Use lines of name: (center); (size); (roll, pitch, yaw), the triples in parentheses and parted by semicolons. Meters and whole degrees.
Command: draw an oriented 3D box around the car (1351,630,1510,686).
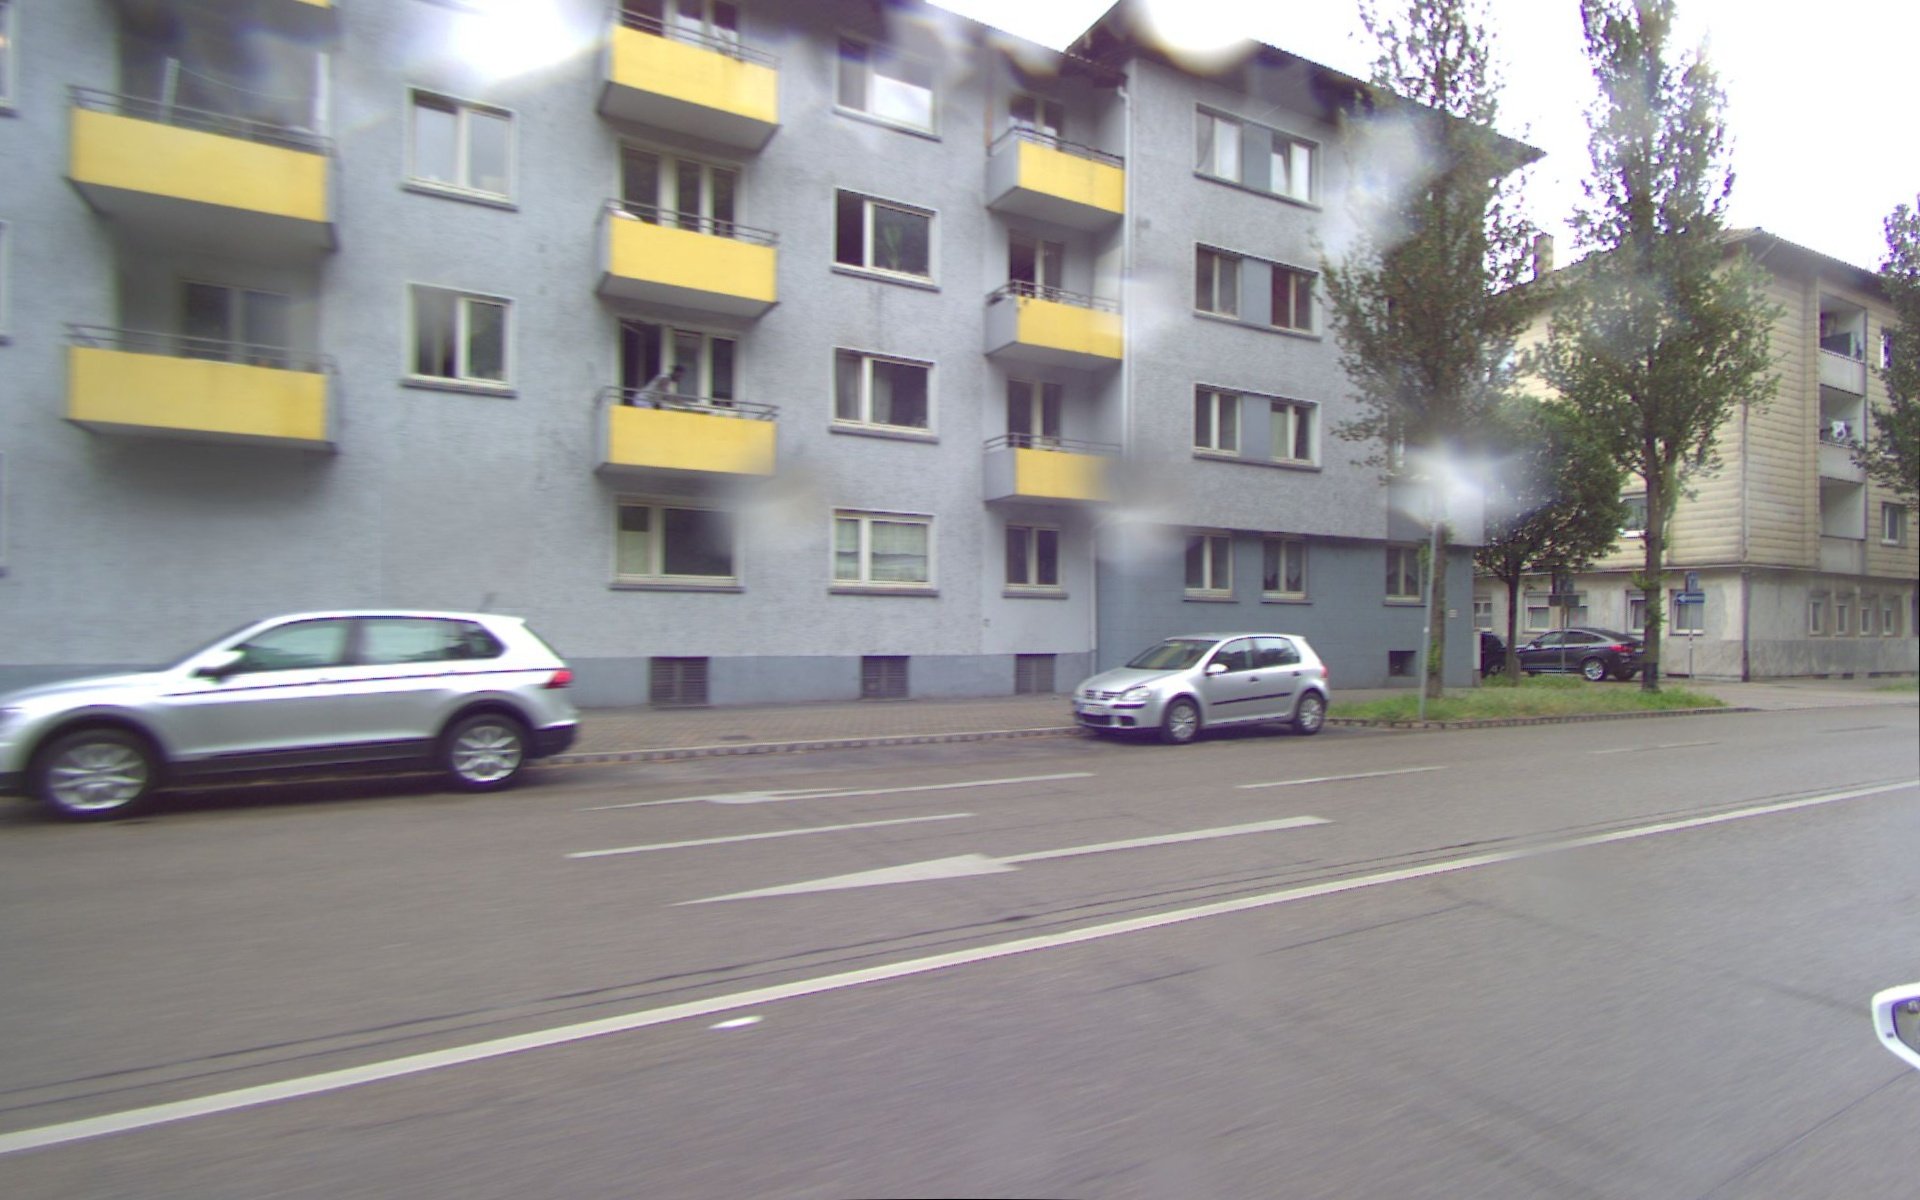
car: (13.504, 1.659, 29.061); (3.919, 1.513, 1.715); (0, -3, 16)

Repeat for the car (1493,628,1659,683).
car: (19.582, 1.709, 32.122); (1.902, 1.600, 4.134); (0, -1, -27)

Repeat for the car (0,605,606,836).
car: (-5.643, 0.912, 8.882); (4.484, 1.625, 1.754); (1, -2, -33)

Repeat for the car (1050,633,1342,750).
car: (3.462, 1.229, 14.510); (4.159, 1.472, 1.715); (1, -2, -32)
